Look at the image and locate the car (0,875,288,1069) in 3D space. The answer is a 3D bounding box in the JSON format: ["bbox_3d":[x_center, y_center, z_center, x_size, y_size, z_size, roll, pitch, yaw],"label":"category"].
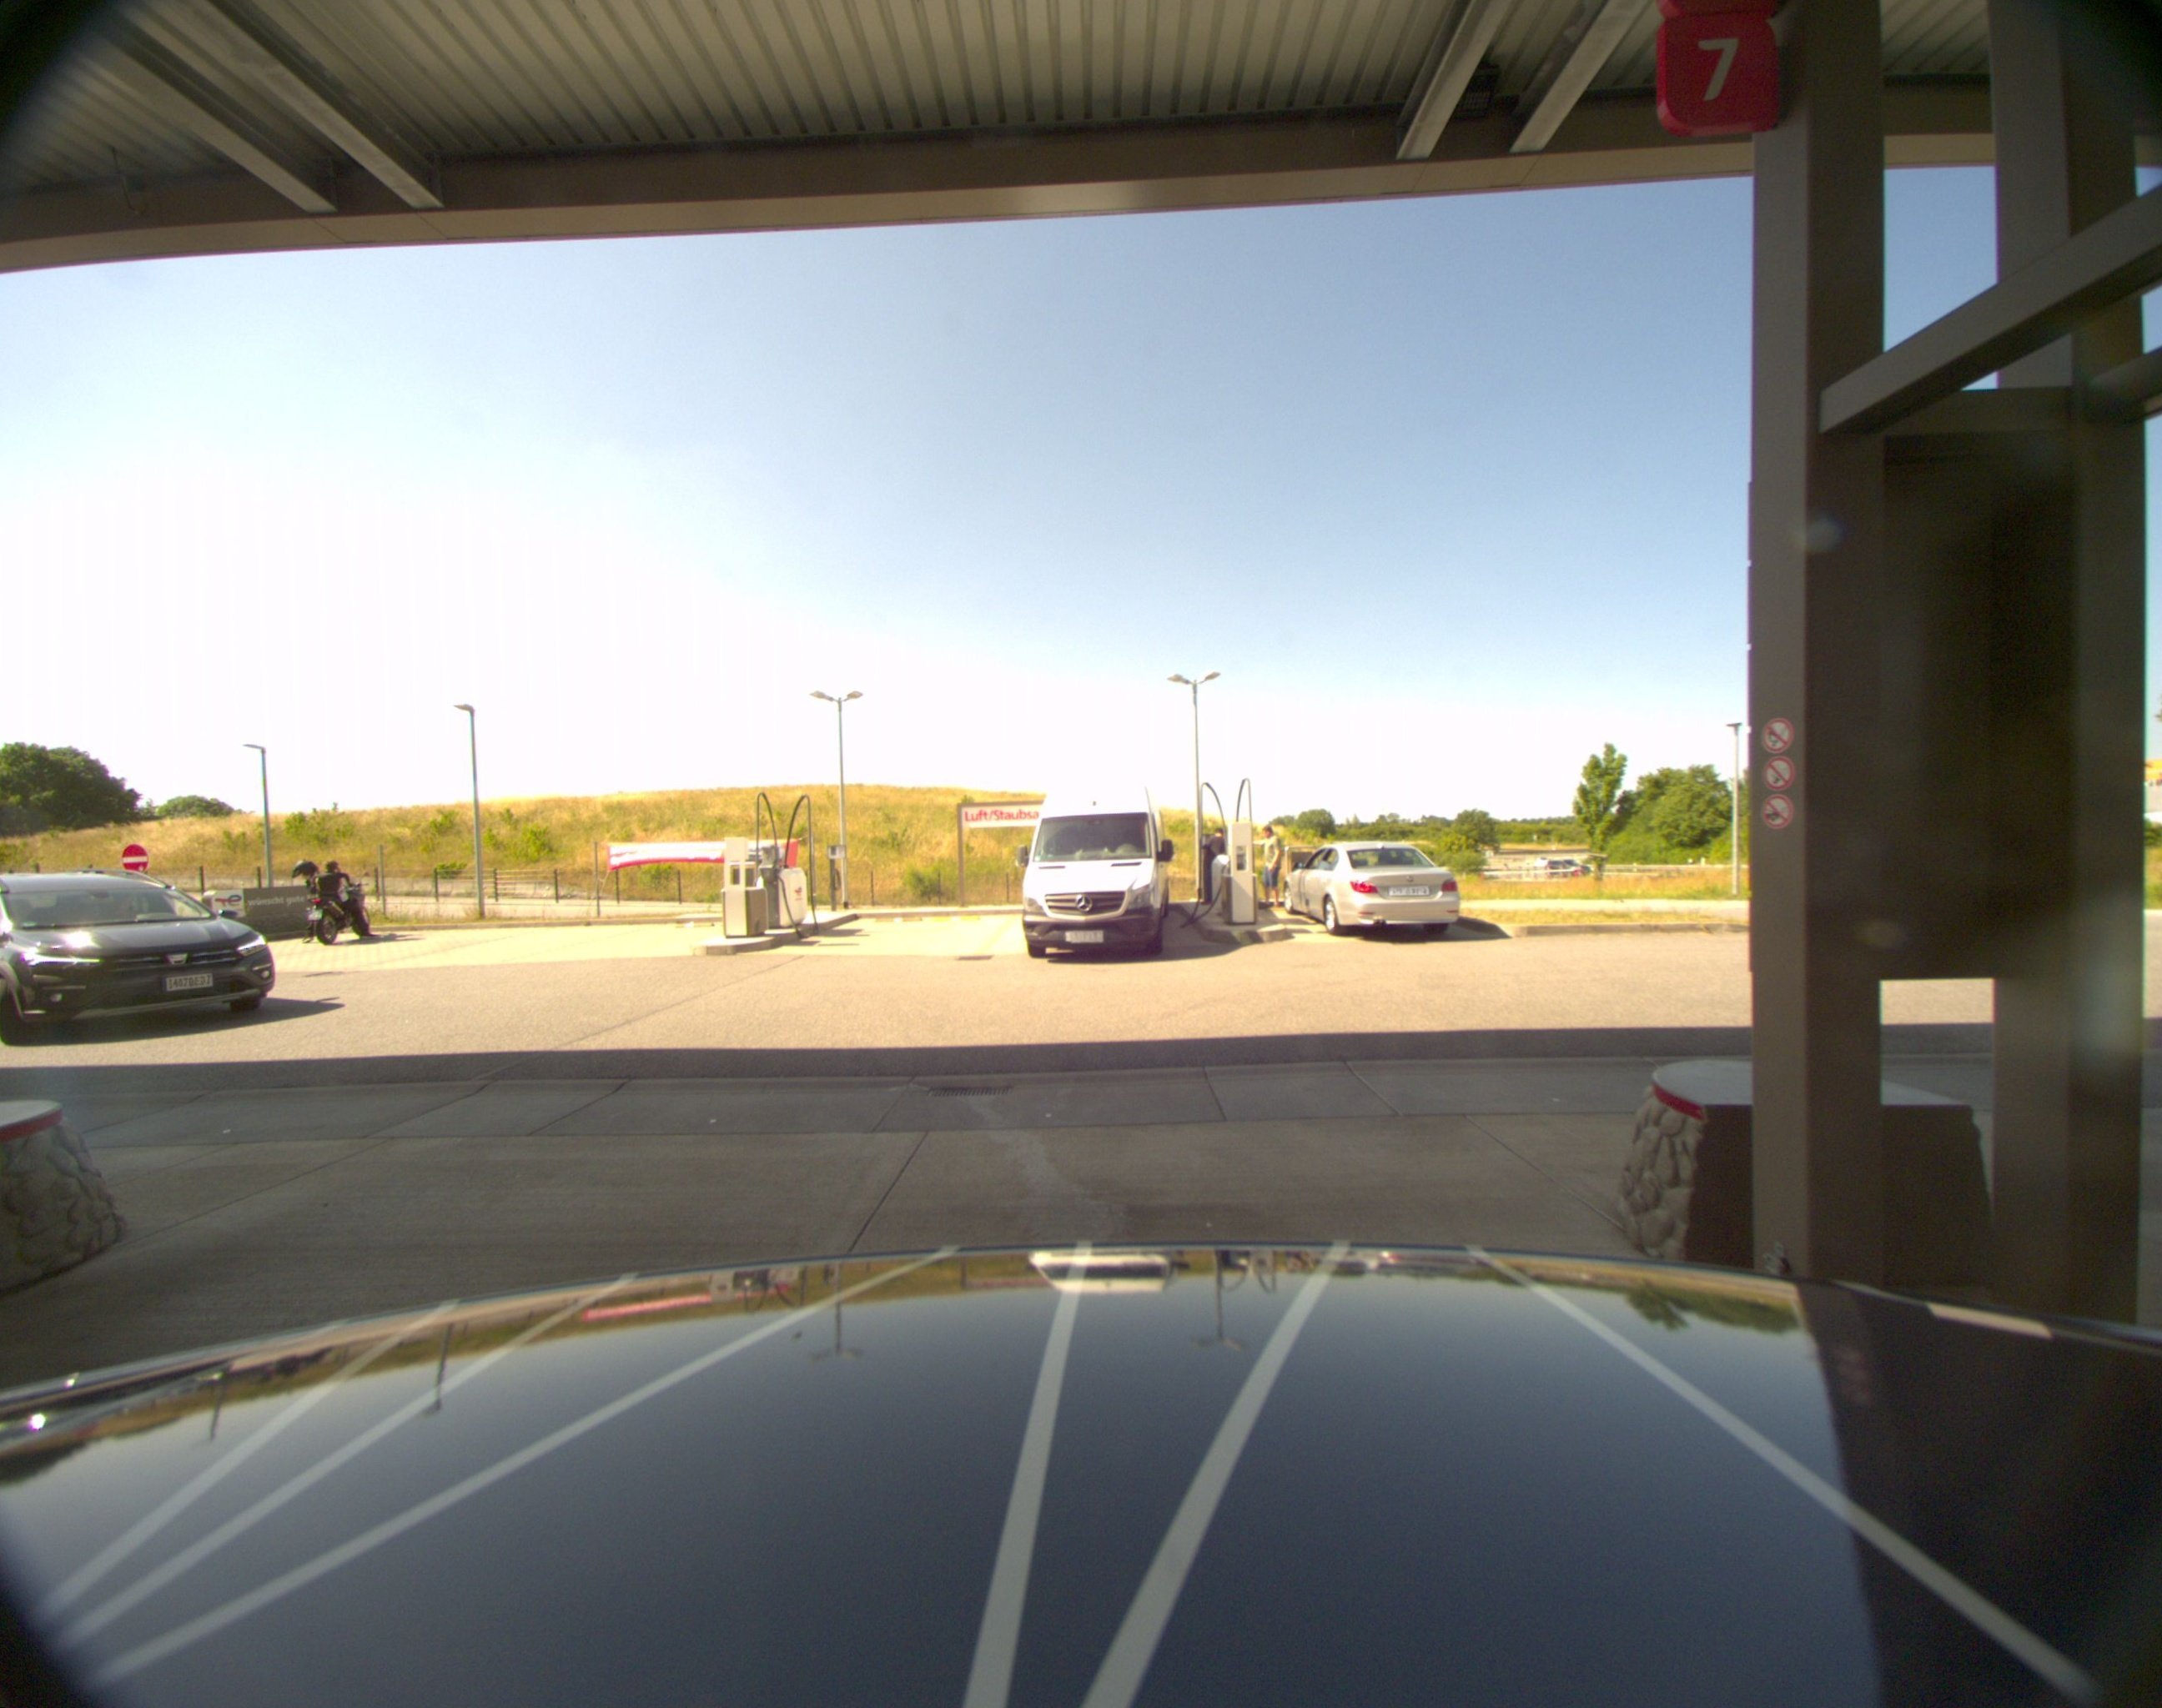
[{"bbox_3d":[-11.144,1.107,8.344,4.621,1.635,1.746,-1,1,22],"label":"car"}]

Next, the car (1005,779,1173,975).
[{"bbox_3d":[0.516,0.147,13.440,1.997,2.557,7.032,-1,3,8],"label":"car"}]

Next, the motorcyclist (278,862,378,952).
[{"bbox_3d":[-15.020,1.012,15.209,1.036,1.678,1.096,-2,1,-23],"label":"motorcyclist"}]

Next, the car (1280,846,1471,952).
[{"bbox_3d":[4.820,0.631,13.148,1.791,1.420,4.321,-1,2,3],"label":"car"}]

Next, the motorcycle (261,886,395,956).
[{"bbox_3d":[-15.076,1.292,15.323,1.047,1.100,2.411,-2,2,-23],"label":"motorcycle"}]

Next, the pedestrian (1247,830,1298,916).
[{"bbox_3d":[3.988,0.388,15.887,0.844,1.739,0.709,-2,1,-2],"label":"pedestrian"}]

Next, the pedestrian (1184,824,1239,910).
[{"bbox_3d":[2.757,0.263,16.035,0.710,1.759,0.843,-3,1,-42],"label":"pedestrian"}]
